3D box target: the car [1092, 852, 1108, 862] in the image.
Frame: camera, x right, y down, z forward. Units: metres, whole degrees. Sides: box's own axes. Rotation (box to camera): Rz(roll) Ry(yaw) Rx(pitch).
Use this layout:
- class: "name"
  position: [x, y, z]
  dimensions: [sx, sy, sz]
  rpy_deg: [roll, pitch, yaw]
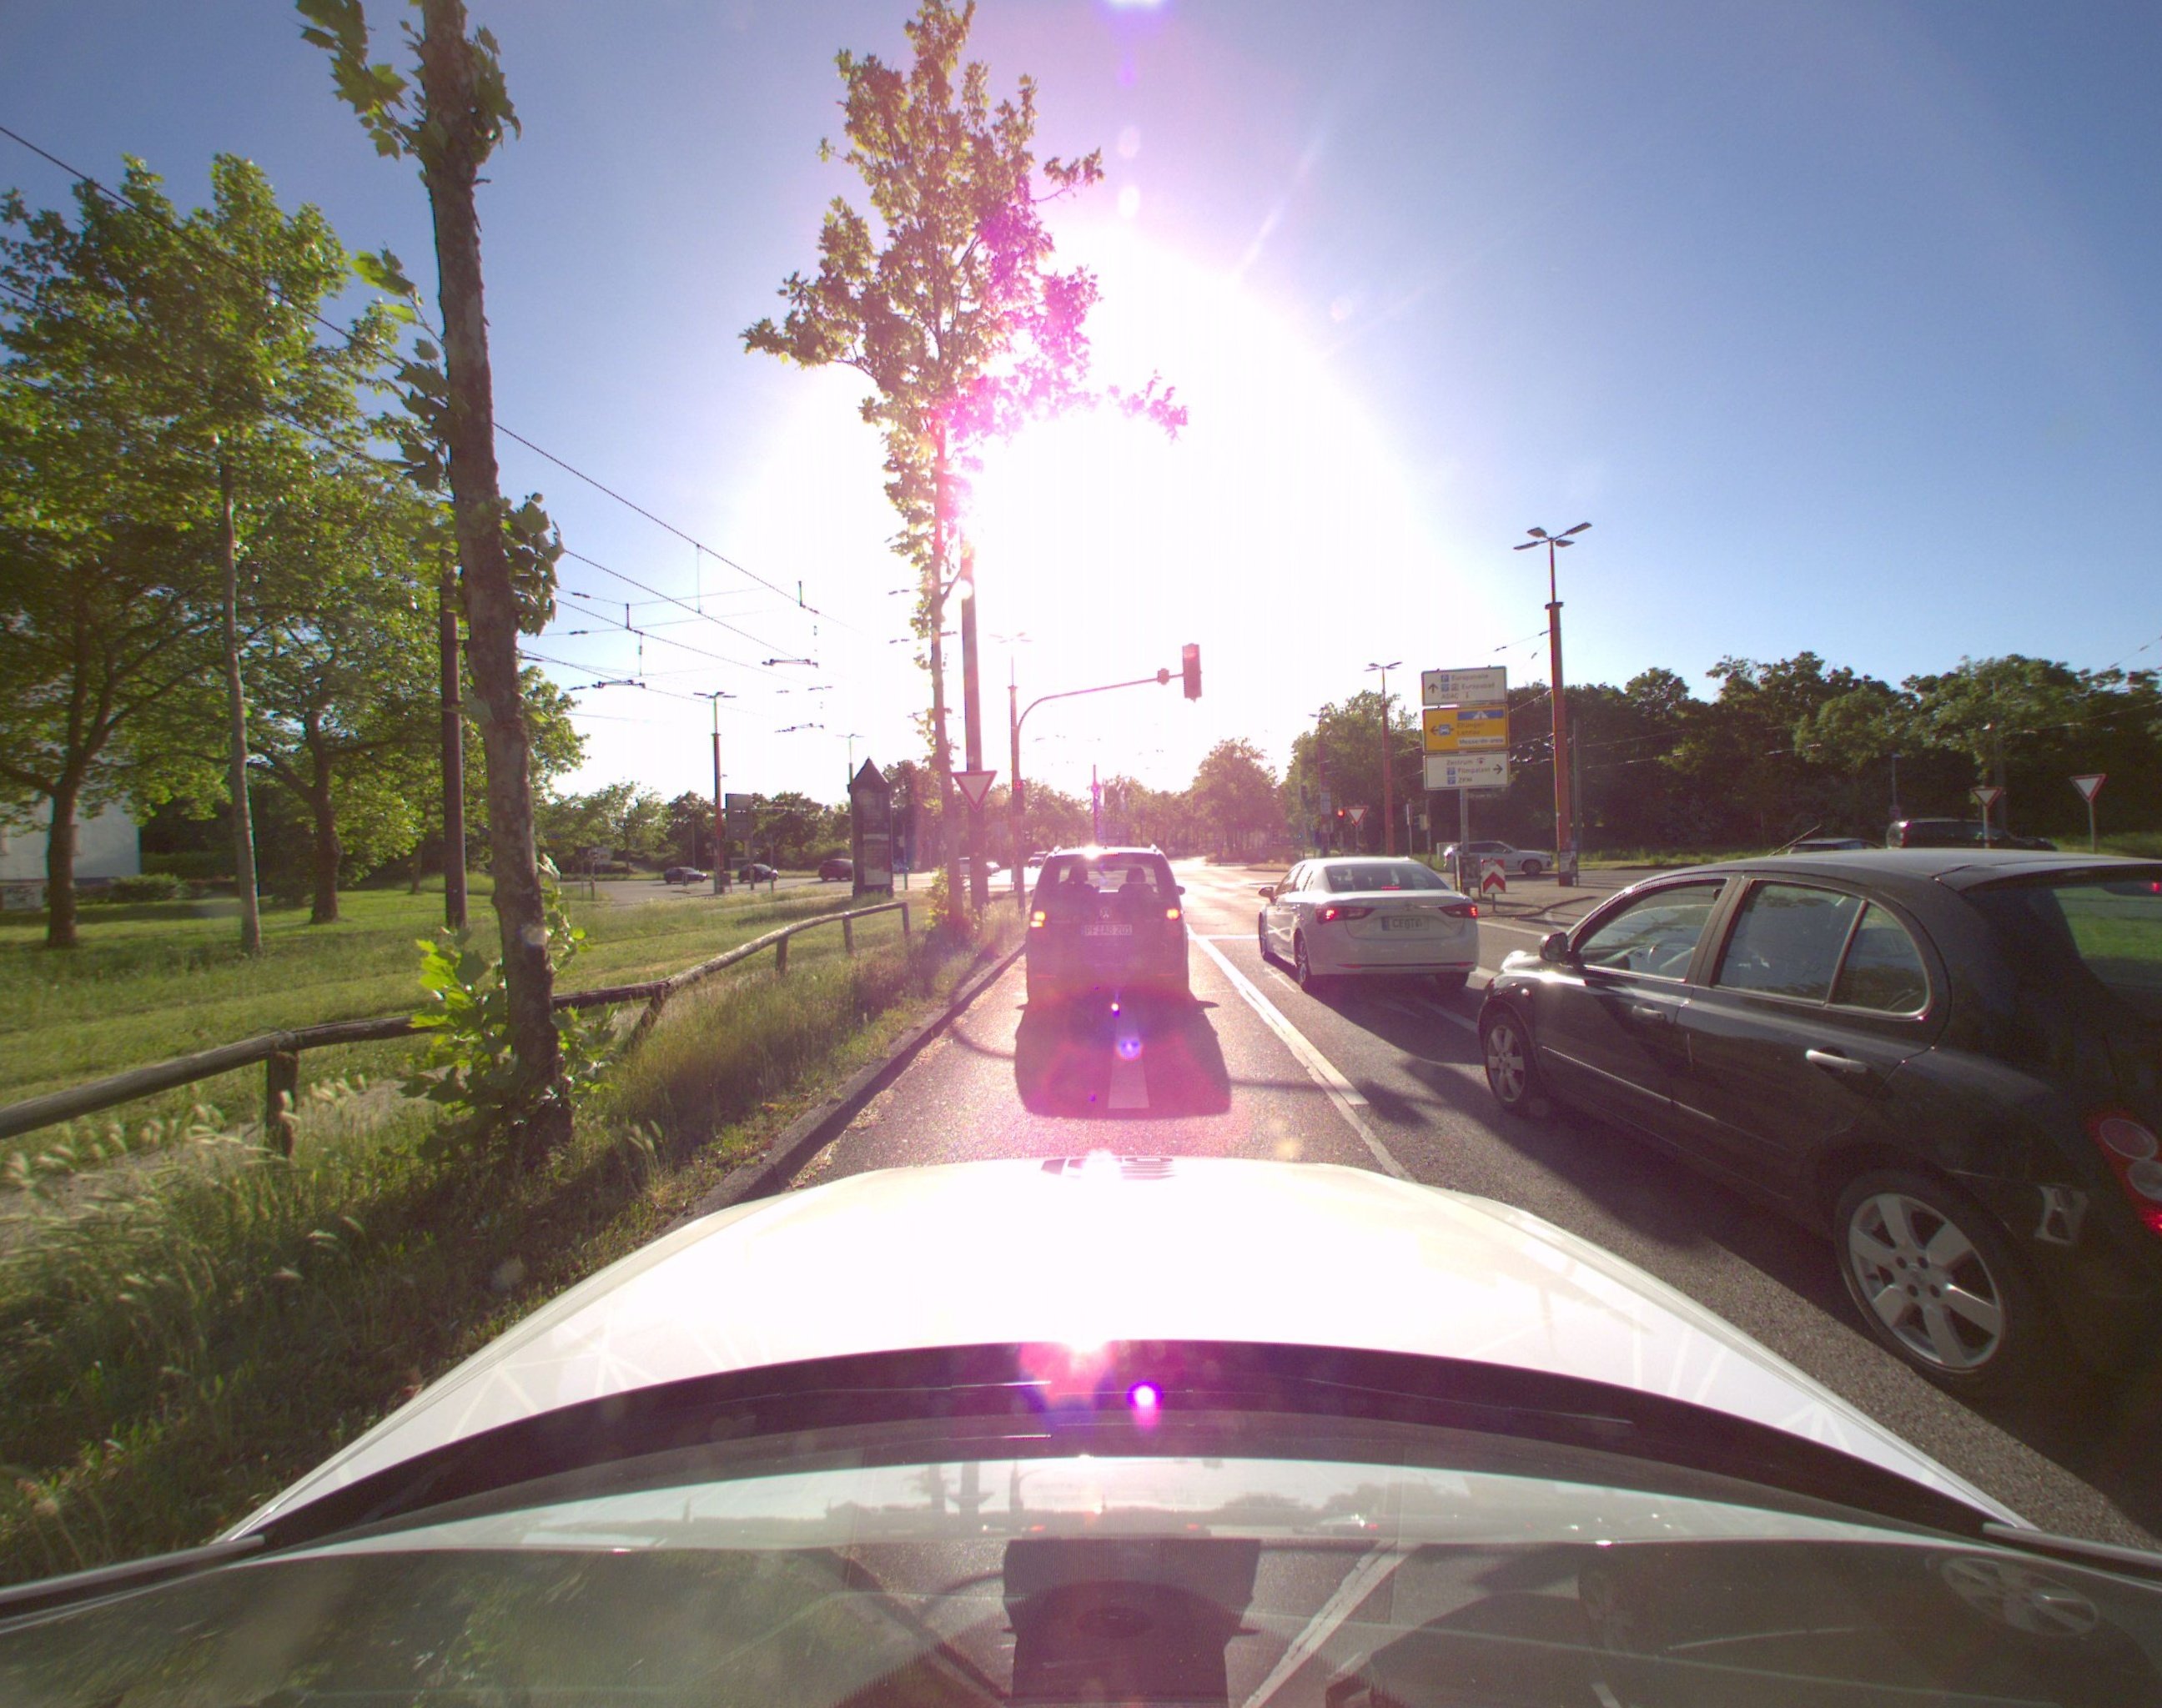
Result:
- class: "car"
  position: [3.545, 0.537, 153.133]
  dimensions: [1.979, 1.684, 4.846]
  rpy_deg: [-2, 0, 14]

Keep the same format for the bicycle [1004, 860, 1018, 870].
- class: "bicycle"
  position: [-8.144, 1.229, 94.802]
  dimensions: [0.728, 1.090, 1.971]
  rpy_deg: [-2, 0, 21]

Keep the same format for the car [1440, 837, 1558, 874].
- class: "car"
  position: [19.705, 0.083, 38.449]
  dimensions: [4.734, 1.598, 1.926]
  rpy_deg: [-2, 0, 32]

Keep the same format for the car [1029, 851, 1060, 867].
- class: "car"
  position: [-4.173, 0.530, 94.095]
  dimensions: [1.978, 1.684, 4.851]
  rpy_deg: [-2, 0, 17]

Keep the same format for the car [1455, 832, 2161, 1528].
- class: "car"
  position: [3.168, 0.697, 3.521]
  dimensions: [1.550, 1.506, 3.517]
  rpy_deg: [-2, 0, 2]

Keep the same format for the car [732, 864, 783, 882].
- class: "car"
  position: [-27.757, 1.613, 69.812]
  dimensions: [4.004, 1.464, 1.926]
  rpy_deg: [-2, 0, 30]

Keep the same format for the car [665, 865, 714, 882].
- class: "car"
  position: [-36.002, 1.811, 74.948]
  dimensions: [4.187, 1.464, 1.926]
  rpy_deg: [-2, 0, 28]

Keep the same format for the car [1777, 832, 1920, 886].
- class: "car"
  position: [23.216, 0.136, 24.626]
  dimensions: [3.897, 1.469, 1.738]
  rpy_deg: [-2, 0, -23]

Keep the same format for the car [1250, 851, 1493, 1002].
- class: "car"
  position: [3.297, 0.722, 10.125]
  dimensions: [1.708, 1.454, 4.147]
  rpy_deg: [-2, 0, 3]

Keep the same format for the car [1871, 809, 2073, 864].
- class: "car"
  position: [33.157, -0.616, 30.549]
  dimensions: [4.734, 1.836, 1.926]
  rpy_deg: [-2, 0, 32]

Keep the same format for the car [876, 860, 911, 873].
- class: "car"
  position: [-21.952, 1.469, 95.295]
  dimensions: [3.817, 1.310, 1.651]
  rpy_deg: [-2, 0, -22]

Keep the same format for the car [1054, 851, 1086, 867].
- class: "car"
  position: [-1.218, 0.515, 91.933]
  dimensions: [1.977, 1.684, 4.853]
  rpy_deg: [-2, 0, 20]

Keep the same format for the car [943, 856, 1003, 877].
- class: "car"
  position: [-8.267, 0.959, 62.350]
  dimensions: [4.189, 1.464, 1.917]
  rpy_deg: [-2, 0, 5]

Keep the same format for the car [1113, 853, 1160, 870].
- class: "car"
  position: [5.132, 0.690, 75.181]
  dimensions: [4.247, 1.464, 1.891]
  rpy_deg: [-1, 0, -44]

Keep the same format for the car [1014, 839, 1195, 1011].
- class: "car"
  position: [0.296, 0.699, 9.997]
  dimensions: [1.731, 1.641, 4.002]
  rpy_deg: [-2, 0, 2]

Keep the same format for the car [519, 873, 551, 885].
- class: "car"
  position: [-62.109, 2.810, 92.590]
  dimensions: [3.765, 1.310, 1.753]
  rpy_deg: [-2, 0, 34]

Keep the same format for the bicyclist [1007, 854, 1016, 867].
- class: "bicyclist"
  position: [-8.113, 0.763, 95.022]
  dimensions: [0.686, 1.457, 0.879]
  rpy_deg: [-2, -1, 20]

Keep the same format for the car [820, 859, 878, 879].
- class: "car"
  position: [-18.421, 1.203, 64.679]
  dimensions: [4.318, 1.464, 1.926]
  rpy_deg: [-2, 0, 29]
